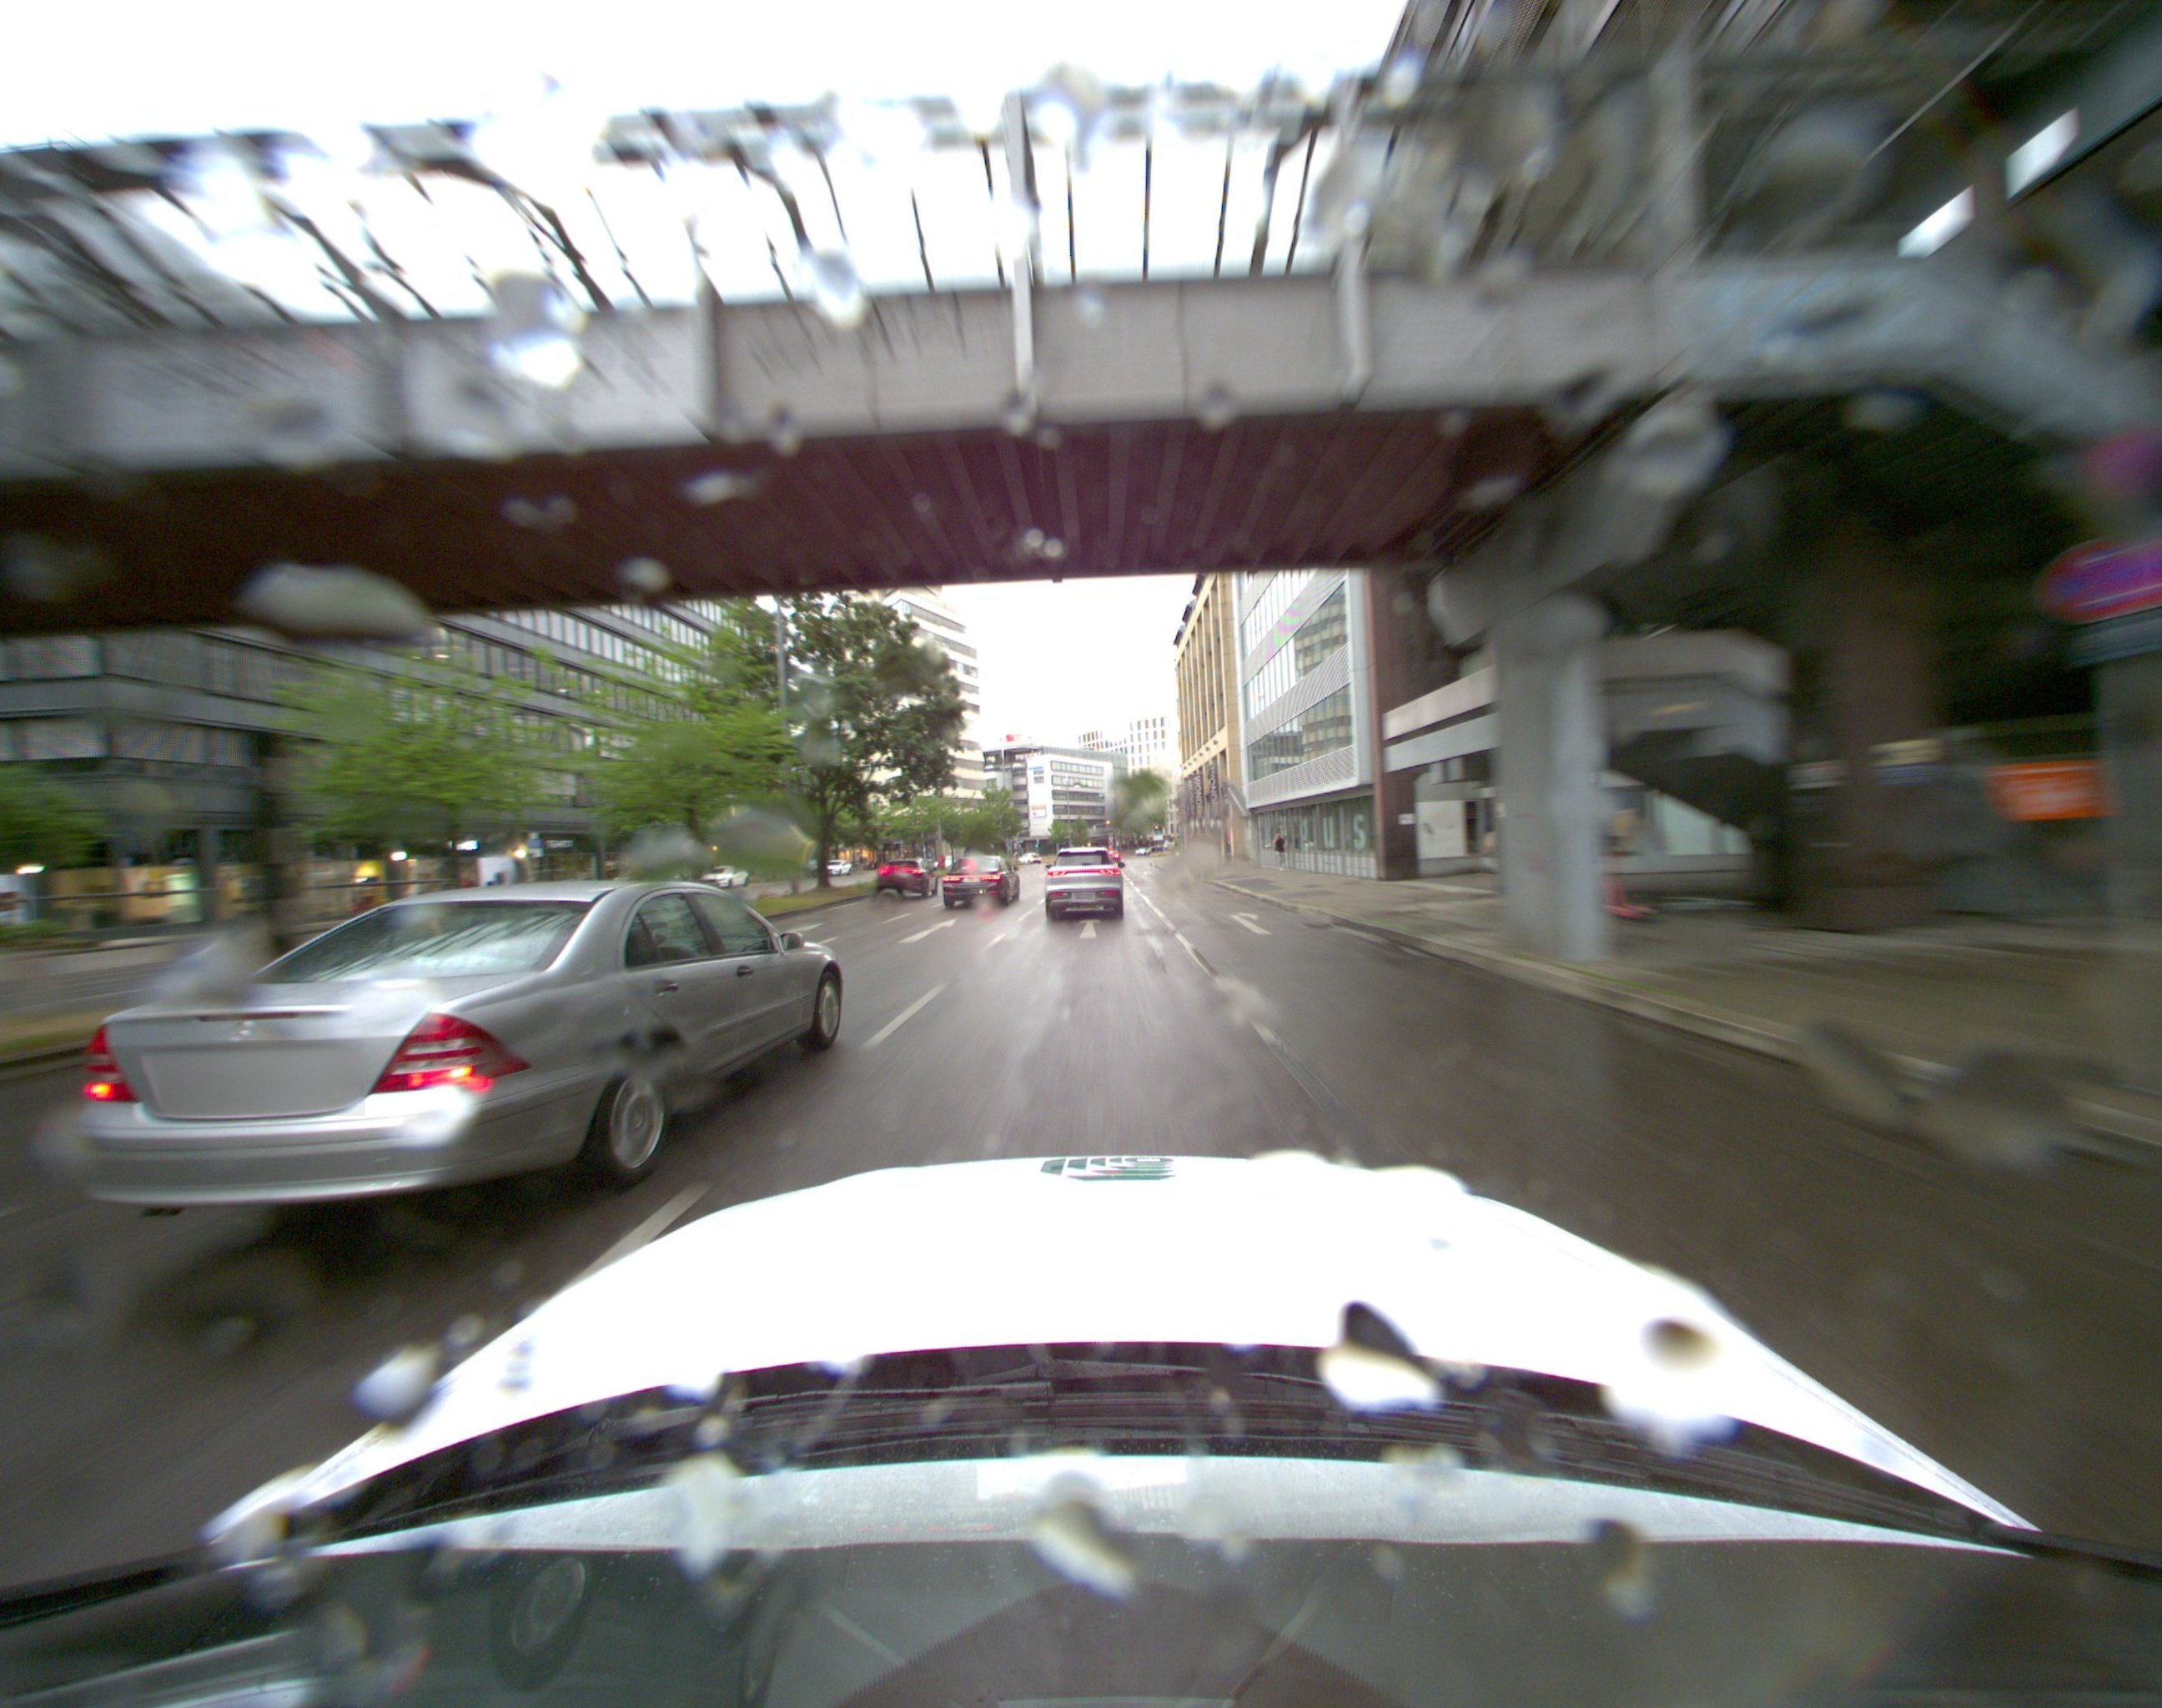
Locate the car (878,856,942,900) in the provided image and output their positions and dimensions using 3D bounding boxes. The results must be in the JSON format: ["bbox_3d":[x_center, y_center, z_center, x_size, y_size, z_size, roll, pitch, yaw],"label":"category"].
[{"bbox_3d":[-6.406,0.855,30.902,1.771,1.457,3.994,-3,0,-4],"label":"car"}]

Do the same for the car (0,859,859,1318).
[{"bbox_3d":[-2.861,0.816,4.957,1.666,1.479,4.362,-2,0,2],"label":"car"}]

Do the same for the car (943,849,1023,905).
[{"bbox_3d":[-2.920,0.632,25.378,1.866,1.479,4.877,-3,0,0],"label":"car"}]

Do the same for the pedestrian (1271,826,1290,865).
[{"bbox_3d":[9.315,-0.375,38.110,0.633,1.772,0.790,-3,0,1],"label":"pedestrian"}]

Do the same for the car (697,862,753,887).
[{"bbox_3d":[-23.015,1.314,52.779,1.618,1.432,4.444,-3,0,0],"label":"car"}]

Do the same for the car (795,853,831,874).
[{"bbox_3d":[-22.790,0.795,69.370,1.618,1.610,4.231,-2,1,-1],"label":"car"}]

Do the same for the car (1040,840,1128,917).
[{"bbox_3d":[0.109,0.526,20.014,1.894,1.621,4.001,-2,0,1],"label":"car"}]

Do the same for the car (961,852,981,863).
[{"bbox_3d":[-14.867,0.437,110.038,1.615,1.453,4.170,-3,0,7],"label":"car"}]

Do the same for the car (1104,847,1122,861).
[{"bbox_3d":[3.943,-0.065,99.923,1.802,1.578,4.009,-2,1,7],"label":"car"}]

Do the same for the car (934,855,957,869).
[{"bbox_3d":[-16.027,0.935,96.486,1.616,1.492,4.312,-3,0,4],"label":"car"}]

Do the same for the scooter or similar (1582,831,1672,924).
[{"bbox_3d":[7.862,0.316,11.780,0.348,1.255,1.395,-3,0,1],"label":"scooter or similar"}]

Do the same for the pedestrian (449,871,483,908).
[{"bbox_3d":[-30.011,1.706,39.736,0.740,1.715,1.057,-3,0,0],"label":"pedestrian"}]

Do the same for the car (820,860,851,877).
[{"bbox_3d":[-22.707,1.316,75.369,1.618,1.460,3.962,-2,1,-1],"label":"car"}]

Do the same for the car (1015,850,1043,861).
[{"bbox_3d":[-7.024,0.255,109.646,1.668,1.342,3.951,-3,1,-42],"label":"car"}]

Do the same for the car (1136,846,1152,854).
[{"bbox_3d":[13.425,-0.878,173.954,1.565,1.538,4.026,-2,1,32],"label":"car"}]

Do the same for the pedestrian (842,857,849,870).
[{"bbox_3d":[-28.500,1.114,98.517,0.606,1.503,0.432,-3,0,-37],"label":"pedestrian"}]
